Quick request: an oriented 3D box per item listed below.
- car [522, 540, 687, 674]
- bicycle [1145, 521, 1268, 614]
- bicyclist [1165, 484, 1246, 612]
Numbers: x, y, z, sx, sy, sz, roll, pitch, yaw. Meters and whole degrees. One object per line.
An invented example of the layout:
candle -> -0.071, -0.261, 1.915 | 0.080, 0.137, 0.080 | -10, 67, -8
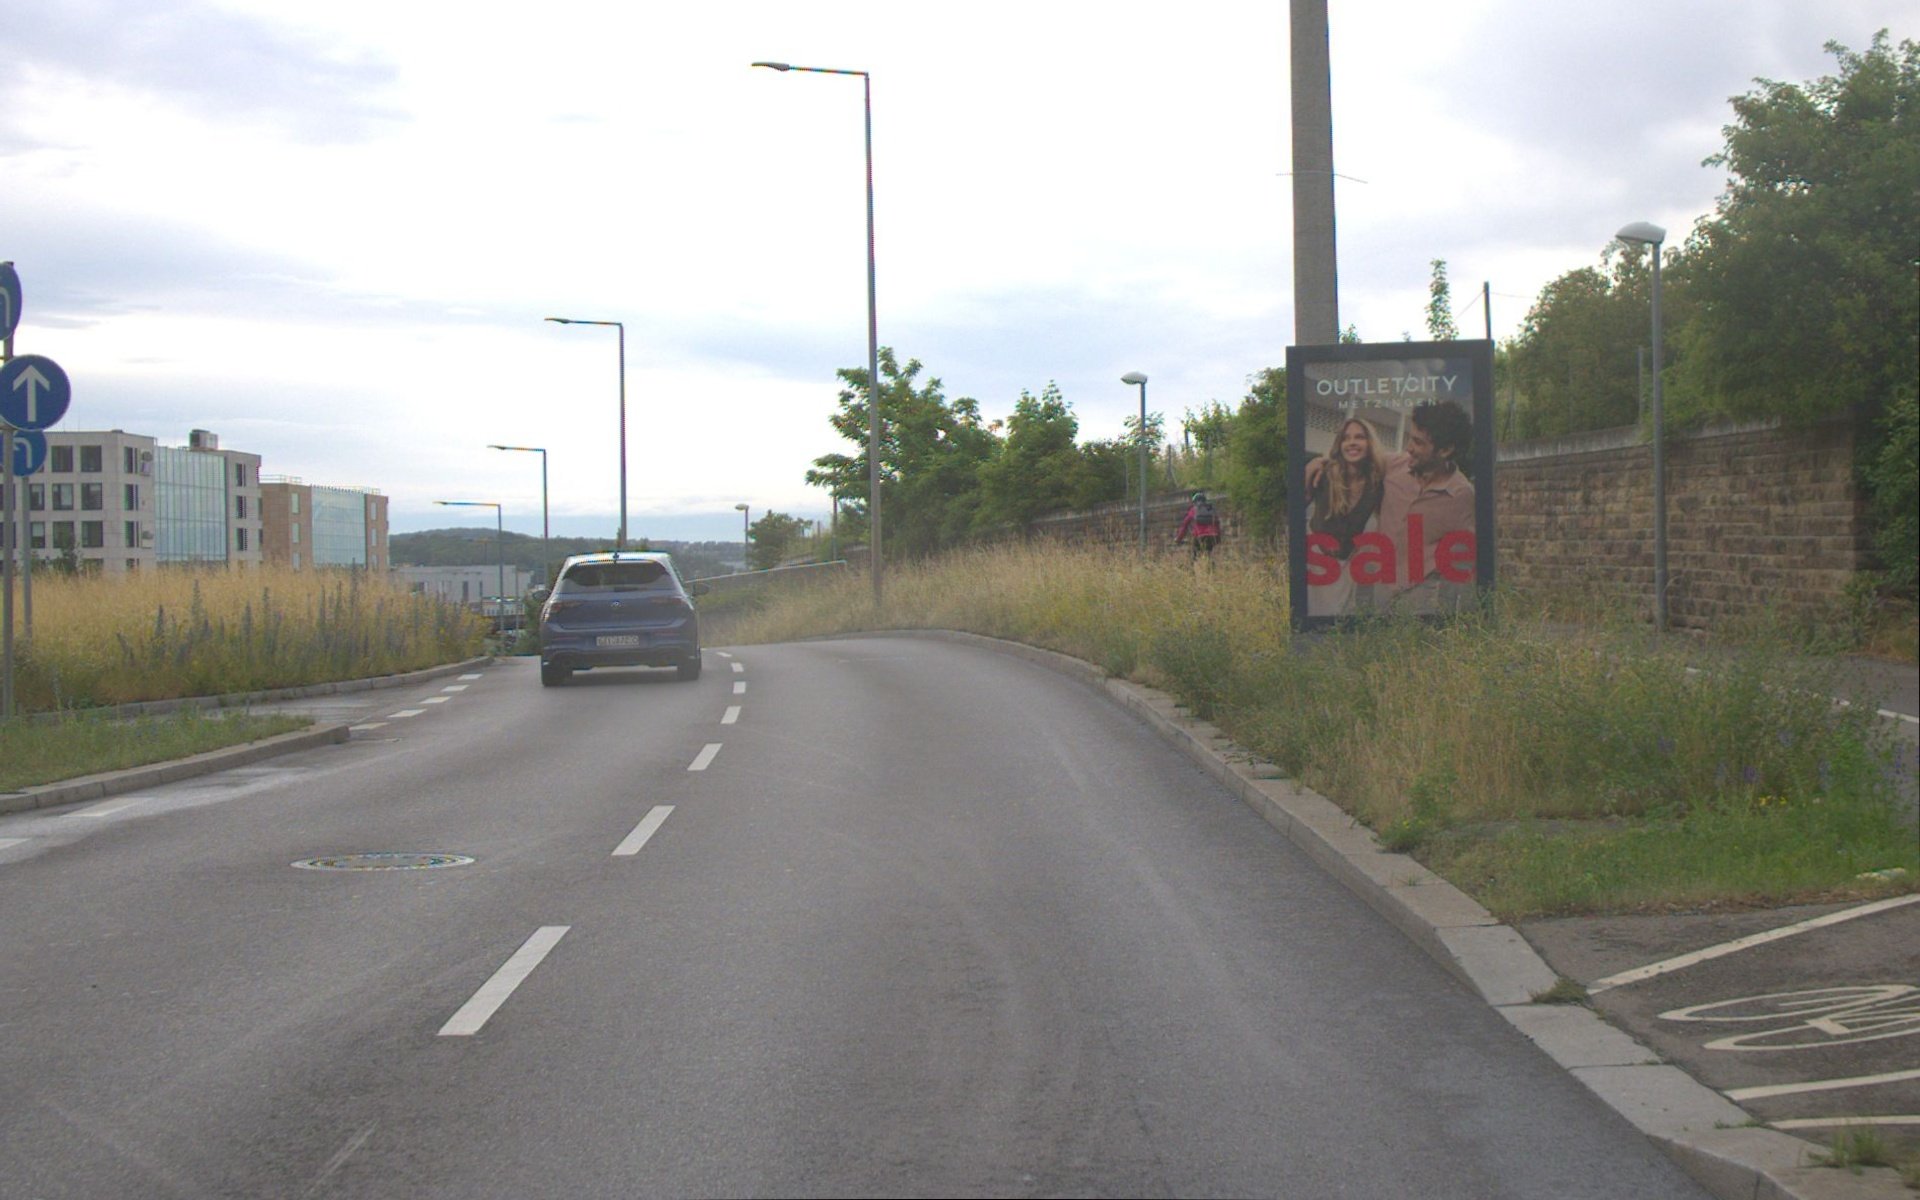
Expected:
car -> -4.011, 0.056, 39.083 | 1.748, 1.415, 3.479 | 1, 0, -5
bicycle -> 3.789, -0.479, 53.177 | 0.869, 1.284, 3.487 | 1, -2, -14
bicyclist -> 3.791, -0.793, 53.186 | 0.869, 1.902, 1.294 | 1, -2, -14
